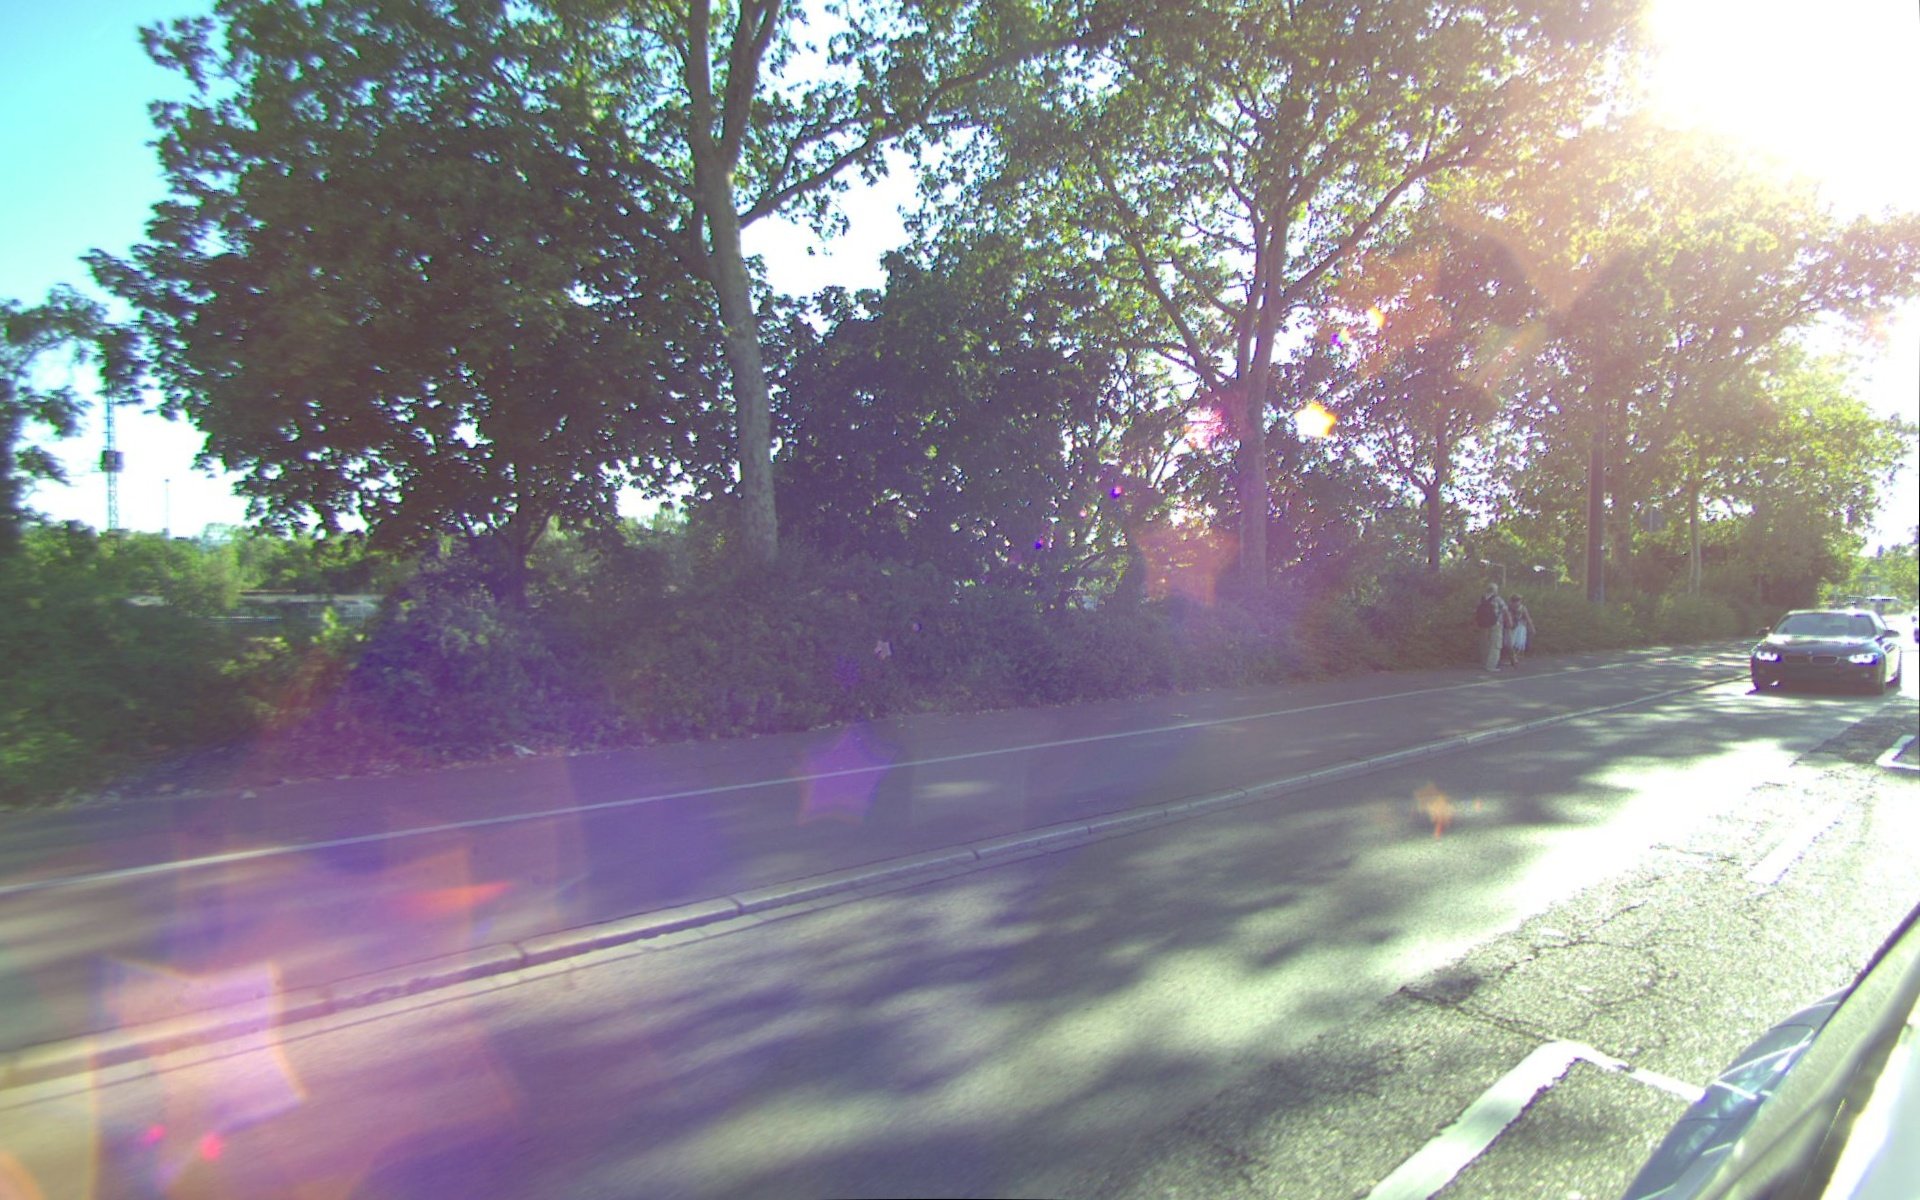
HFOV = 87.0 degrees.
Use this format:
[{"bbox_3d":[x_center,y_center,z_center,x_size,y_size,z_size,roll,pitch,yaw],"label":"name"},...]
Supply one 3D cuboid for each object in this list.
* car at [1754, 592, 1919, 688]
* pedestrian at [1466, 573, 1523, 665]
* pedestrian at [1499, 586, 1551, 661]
[{"bbox_3d":[16.053,0.626,18.448,4.510,1.486,1.867,-1,1,-44],"label":"car"},{"bbox_3d":[10.407,0.349,19.703,0.799,1.729,0.723,0,2,-42],"label":"pedestrian"},{"bbox_3d":[11.649,0.463,20.865,0.709,1.498,0.724,0,2,-42],"label":"pedestrian"}]
